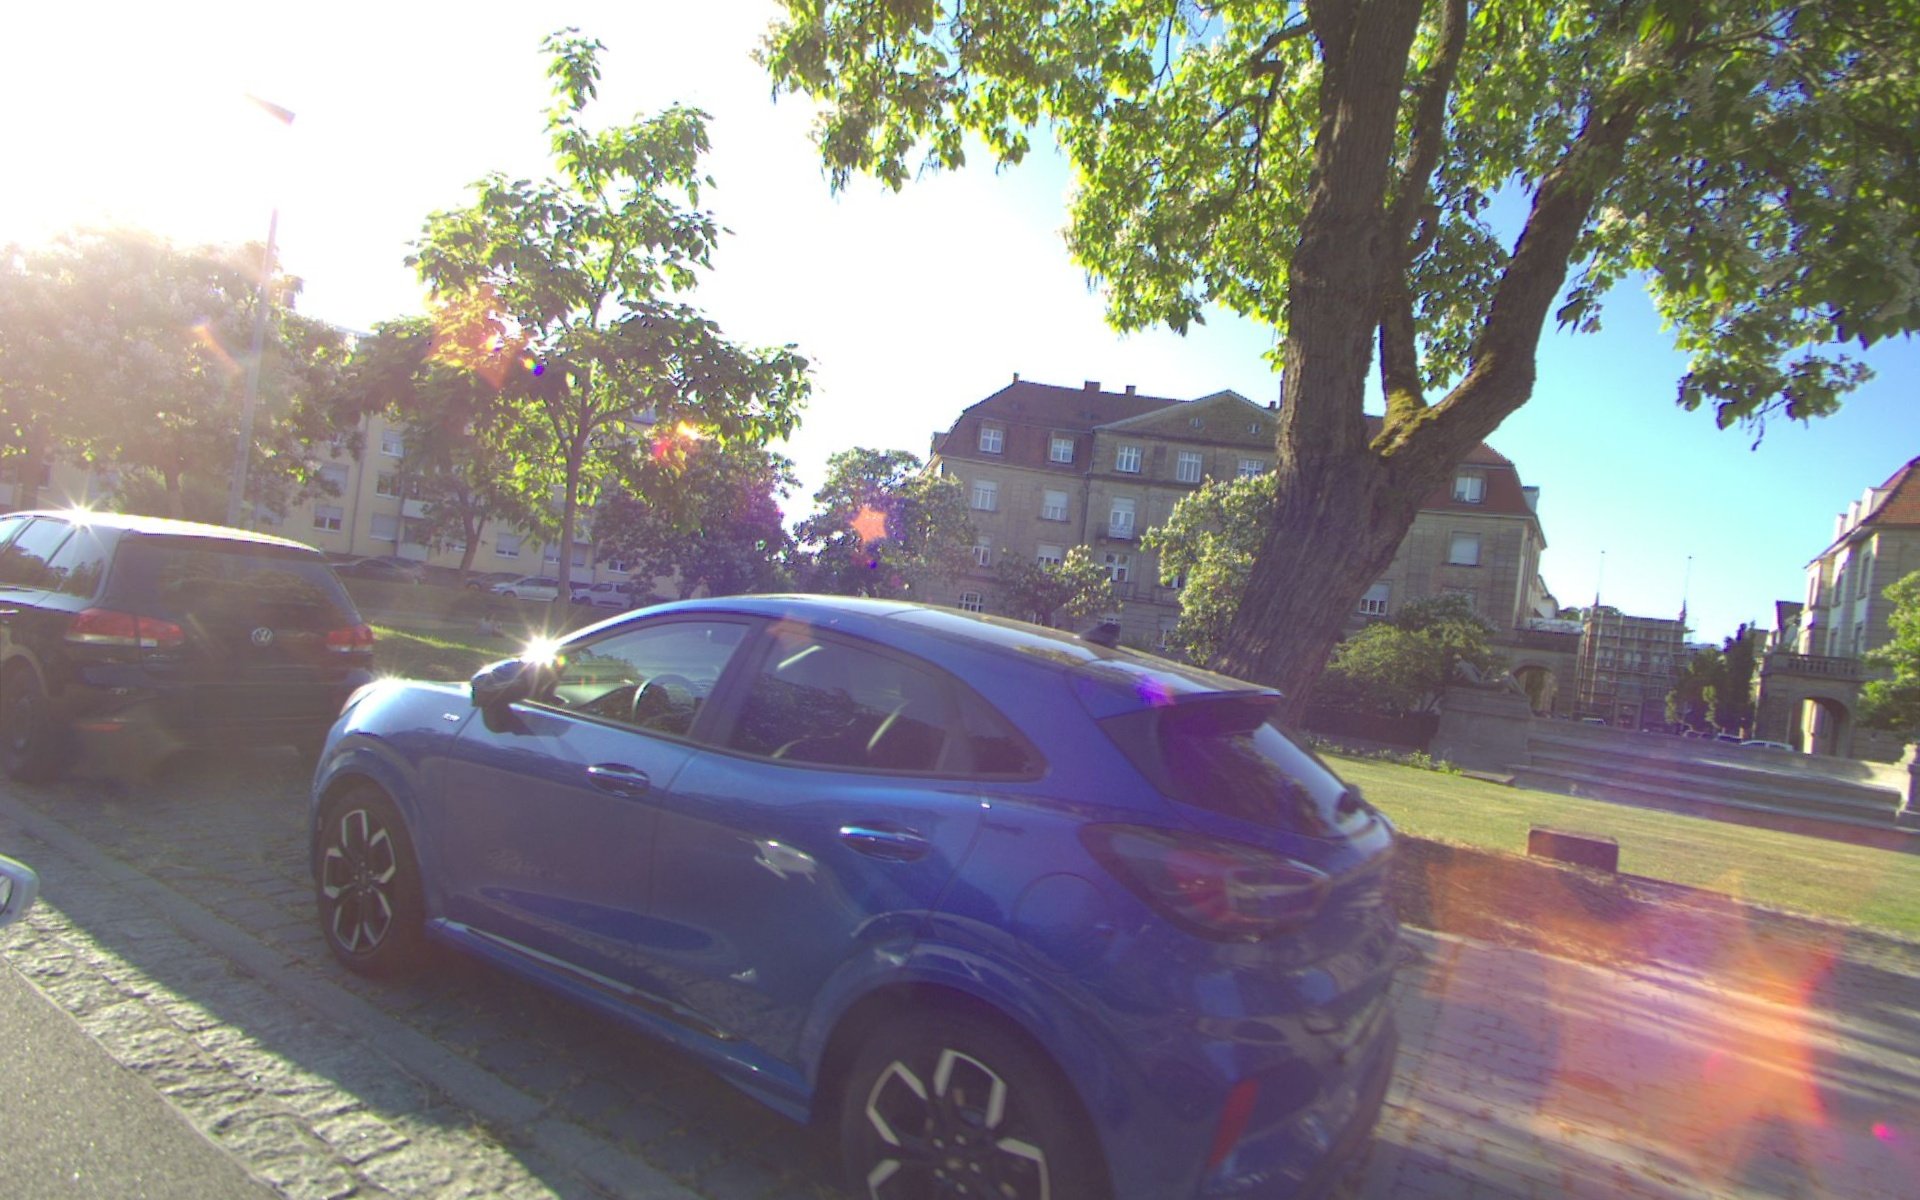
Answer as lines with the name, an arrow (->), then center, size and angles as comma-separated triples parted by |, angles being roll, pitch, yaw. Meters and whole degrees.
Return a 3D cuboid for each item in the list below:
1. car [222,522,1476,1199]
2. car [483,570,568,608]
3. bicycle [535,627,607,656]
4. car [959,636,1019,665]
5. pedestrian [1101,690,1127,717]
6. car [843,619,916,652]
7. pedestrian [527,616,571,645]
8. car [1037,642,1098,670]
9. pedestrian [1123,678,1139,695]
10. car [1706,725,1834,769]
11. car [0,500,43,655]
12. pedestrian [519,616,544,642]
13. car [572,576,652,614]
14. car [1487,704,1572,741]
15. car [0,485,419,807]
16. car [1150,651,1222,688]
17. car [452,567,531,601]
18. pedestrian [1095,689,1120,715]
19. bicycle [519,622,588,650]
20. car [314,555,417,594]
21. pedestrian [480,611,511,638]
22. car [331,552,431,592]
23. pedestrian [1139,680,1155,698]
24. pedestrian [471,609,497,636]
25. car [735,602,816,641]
car -> -0.645, 0.725, 3.621 | 4.206, 1.569, 1.734 | 6, -2, 33
car -> -23.548, -0.595, 54.530 | 3.959, 1.570, 1.598 | 8, -2, -31
bicycle -> -12.530, 1.332, 32.400 | 1.755, 0.622, 1.796 | 9, -3, -34
car -> 1.939, 3.427, 68.844 | 3.926, 1.470, 1.882 | 7, -1, 0
pedestrian -> 5.255, 3.531, 34.369 | 0.578, 0.803, 0.666 | 7, -1, -11
car -> -4.979, 2.172, 62.005 | 4.291, 1.470, 1.879 | 7, -1, -7
pedestrian -> -14.208, 1.059, 34.822 | 1.240, 0.822, 0.573 | 9, -2, -13
car -> 7.331, 3.822, 68.905 | 3.924, 1.470, 1.882 | 7, -1, 5
pedestrian -> 8.898, 4.491, 52.355 | 0.655, 0.803, 0.587 | 6, -1, 20
car -> 40.917, 7.413, 50.984 | 4.878, 1.434, 1.813 | 5, -2, 39
car -> -11.346, -0.453, 10.214 | 4.176, 1.481, 1.630 | 6, -2, 28
pedestrian -> -15.100, 1.035, 35.470 | 0.602, 0.822, 0.473 | 7, -2, 33
car -> -21.603, -0.296, 62.469 | 4.468, 1.766, 1.871 | 8, -2, -24
car -> 32.235, 6.904, 56.944 | 4.029, 1.434, 1.816 | 6, -2, 32
car -> -5.859, 0.131, 6.825 | 4.348, 1.569, 1.735 | 6, -2, 30
car -> 13.961, 4.327, 62.392 | 3.925, 1.725, 2.003 | 8, -2, 4
car -> -27.502, -0.948, 59.042 | 3.958, 1.470, 1.866 | 8, -2, -30
pedestrian -> 5.142, 3.540, 35.044 | 0.578, 0.803, 0.666 | 7, -1, -11
bicycle -> -13.492, 1.199, 33.389 | 1.755, 0.622, 1.796 | 9, -3, -34
car -> -29.768, -1.255, 50.388 | 4.176, 1.373, 1.676 | 8, -2, -38
pedestrian -> -16.222, 0.865, 35.145 | 0.712, 0.822, 0.612 | 7, -2, 33
car -> -32.284, -1.555, 56.155 | 4.494, 1.587, 1.860 | 8, -2, -40
pedestrian -> 9.675, 4.596, 52.035 | 0.655, 0.803, 0.587 | 6, -1, 20
pedestrian -> -15.995, 0.756, 33.809 | 0.602, 0.822, 0.473 | 7, -2, 33
car -> -11.056, 1.253, 60.132 | 4.456, 1.766, 1.876 | 7, -1, -15
